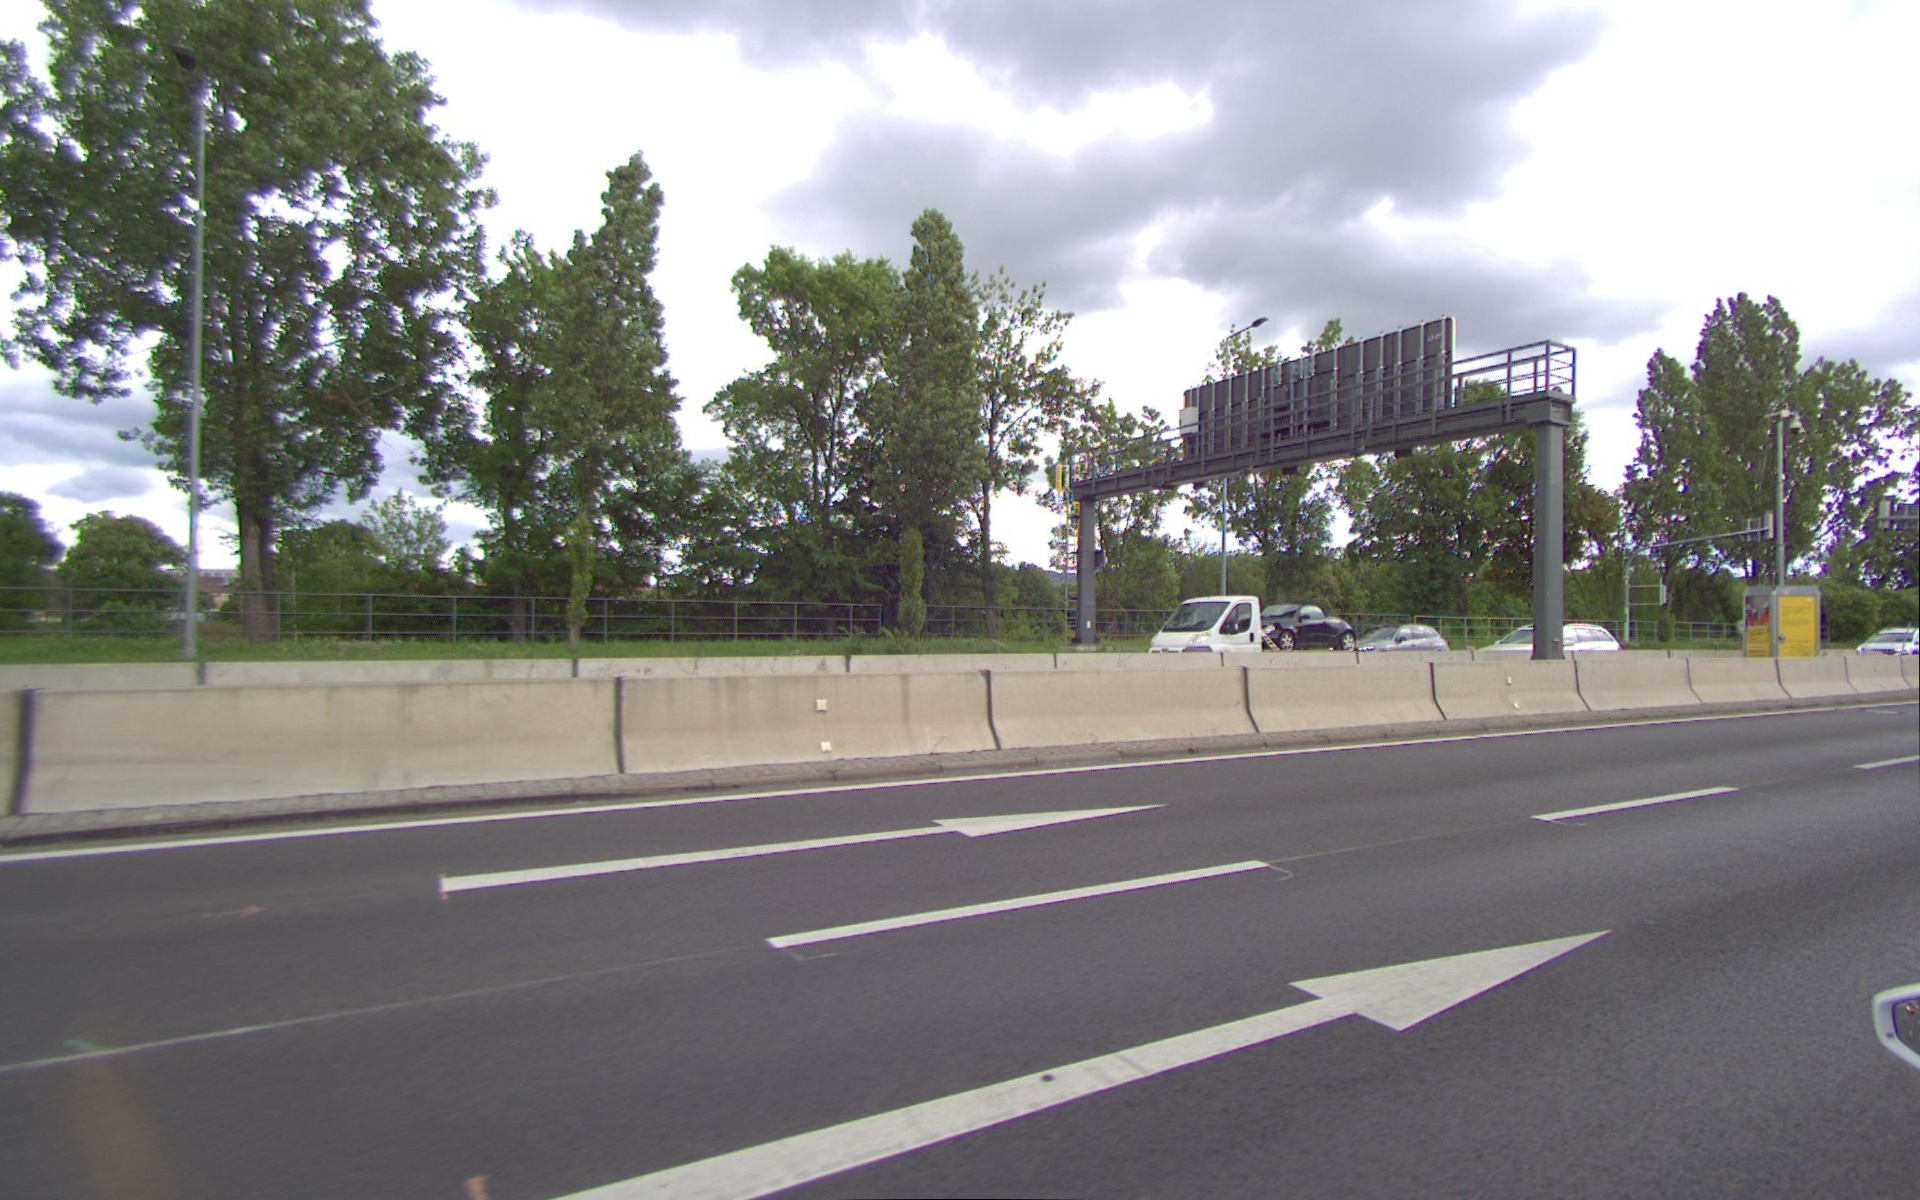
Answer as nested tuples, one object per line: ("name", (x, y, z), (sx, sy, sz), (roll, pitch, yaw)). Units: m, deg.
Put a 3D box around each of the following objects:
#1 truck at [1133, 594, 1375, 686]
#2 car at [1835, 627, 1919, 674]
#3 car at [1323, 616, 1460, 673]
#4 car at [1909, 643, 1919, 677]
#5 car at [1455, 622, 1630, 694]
("truck", (7.512, 0.951, 25.405), (6.229, 2.041, 2.193), (1, 1, -31))
("car", (37.236, 1.990, 40.276), (4.361, 1.707, 1.983), (1, 1, -31))
("car", (14.317, 1.443, 33.306), (4.361, 1.707, 1.983), (1, 1, -31))
("car", (50.060, 3.031, 50.756), (4.238, 1.679, 1.983), (0, 2, -31))
("car", (15.431, 1.470, 26.577), (4.641, 1.691, 1.983), (1, 1, -31))
